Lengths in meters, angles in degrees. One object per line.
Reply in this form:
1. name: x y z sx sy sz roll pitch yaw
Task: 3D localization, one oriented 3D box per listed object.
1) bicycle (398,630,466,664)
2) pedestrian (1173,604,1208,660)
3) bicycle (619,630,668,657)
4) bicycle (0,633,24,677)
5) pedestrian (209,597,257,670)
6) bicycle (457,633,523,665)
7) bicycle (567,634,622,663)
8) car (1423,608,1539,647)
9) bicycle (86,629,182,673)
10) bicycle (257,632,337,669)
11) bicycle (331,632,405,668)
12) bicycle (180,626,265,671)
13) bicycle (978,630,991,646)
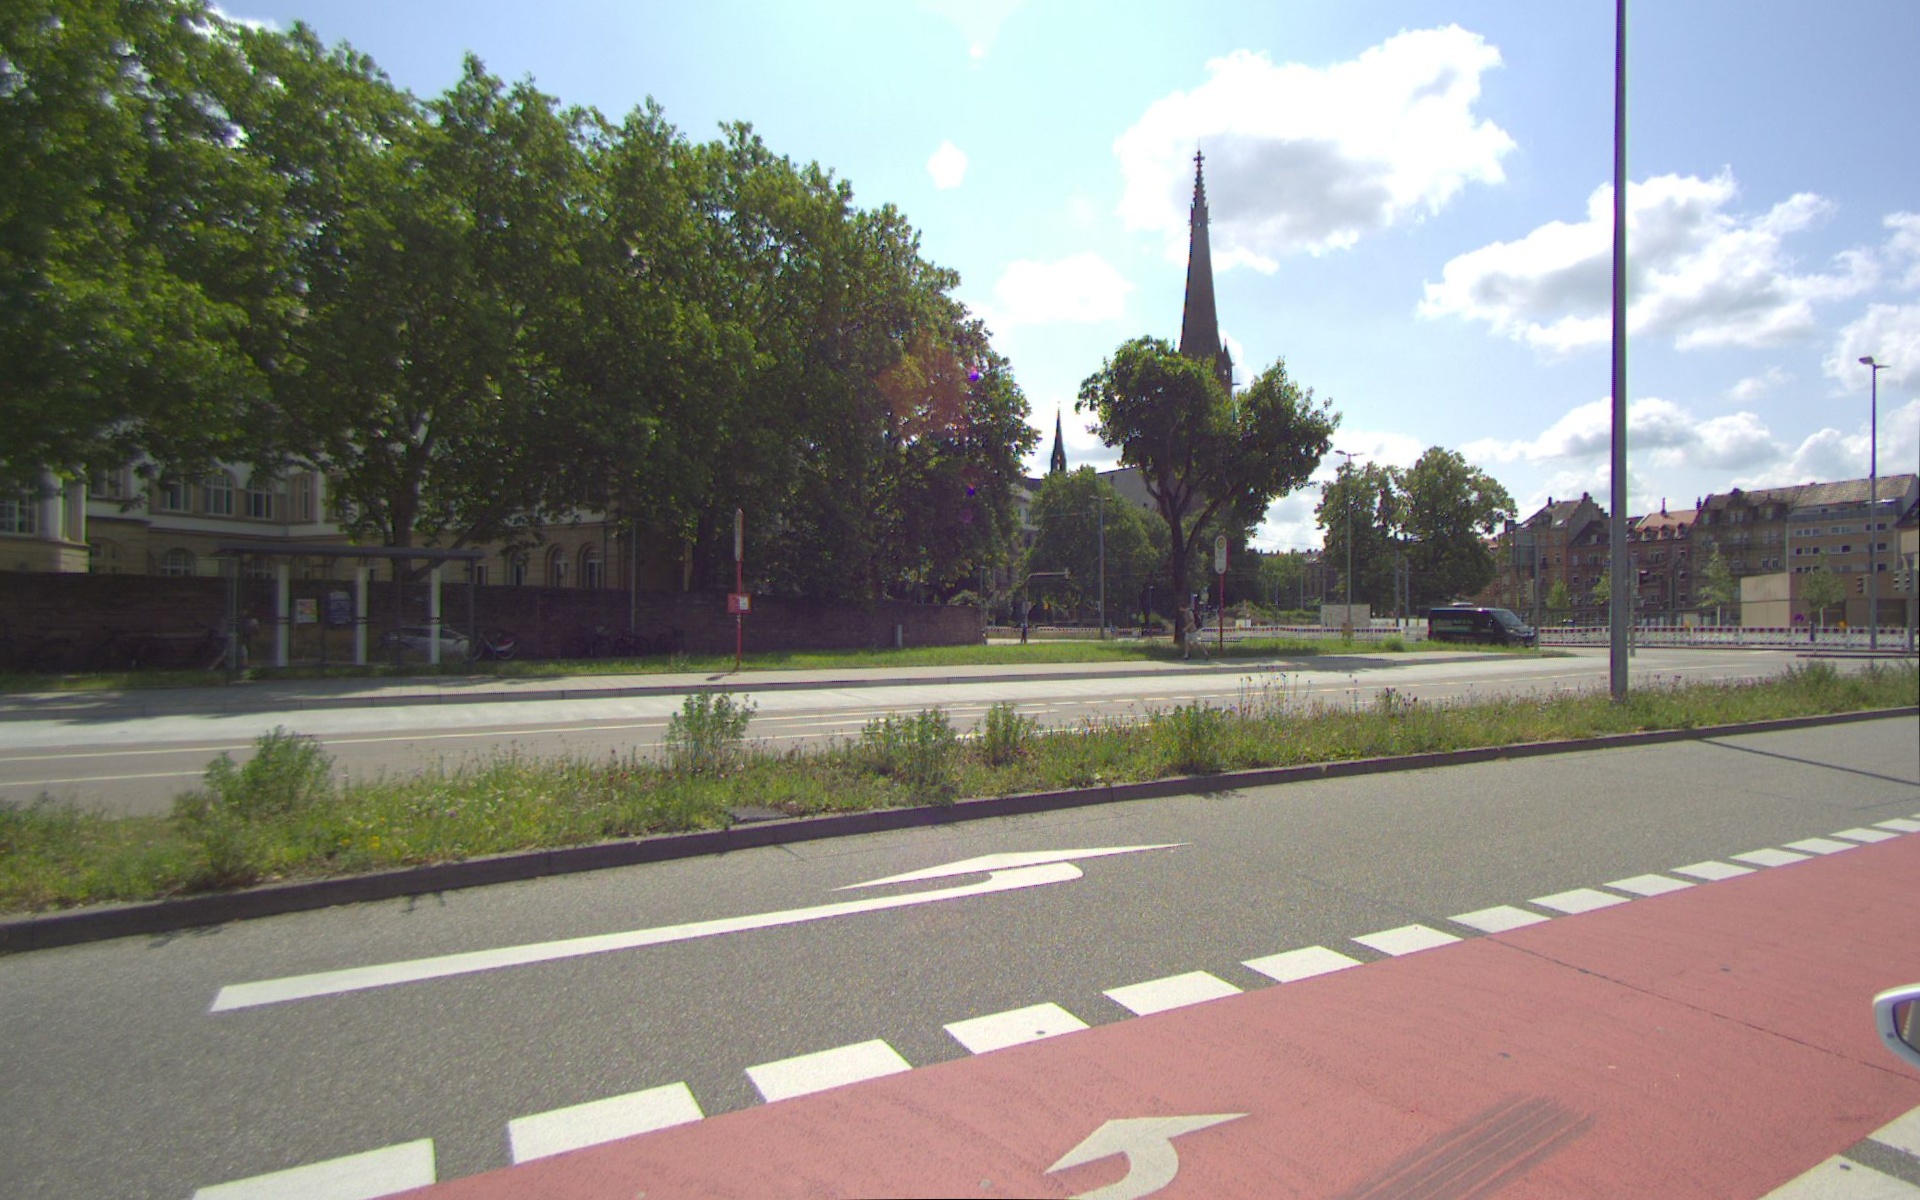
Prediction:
1. bicycle: -15.118 1.338 28.775 0.537 0.914 1.658 0 -1 39
2. pedestrian: 6.587 0.917 28.724 0.858 1.580 0.555 0 -1 1
3. bicycle: -10.978 1.505 34.928 0.536 0.914 1.660 0 -1 34
4. bicycle: -20.940 1.169 21.232 0.538 0.914 1.655 0 -1 44
5. pedestrian: -16.846 0.761 23.274 0.607 1.638 0.754 1 0 39
6. bicycle: -14.140 1.458 30.267 0.446 0.914 1.786 0 -1 39
7. bicycle: -12.048 1.595 33.137 0.537 0.914 1.658 0 -1 39
8. car: 26.349 1.367 50.957 1.908 1.904 4.980 0 -1 -33
9. bicycle: -19.175 1.169 23.339 0.538 0.964 1.656 0 -1 43
10. bicycle: -17.186 1.294 26.062 0.537 0.914 1.658 0 -1 39
11. bicycle: -16.134 1.351 27.422 0.537 0.914 1.658 0 -1 39
12. bicycle: -18.028 1.164 24.574 0.538 1.065 1.615 0 -1 43
13. bicycle: 1.474 2.286 60.150 0.534 0.914 1.666 0 -1 12
